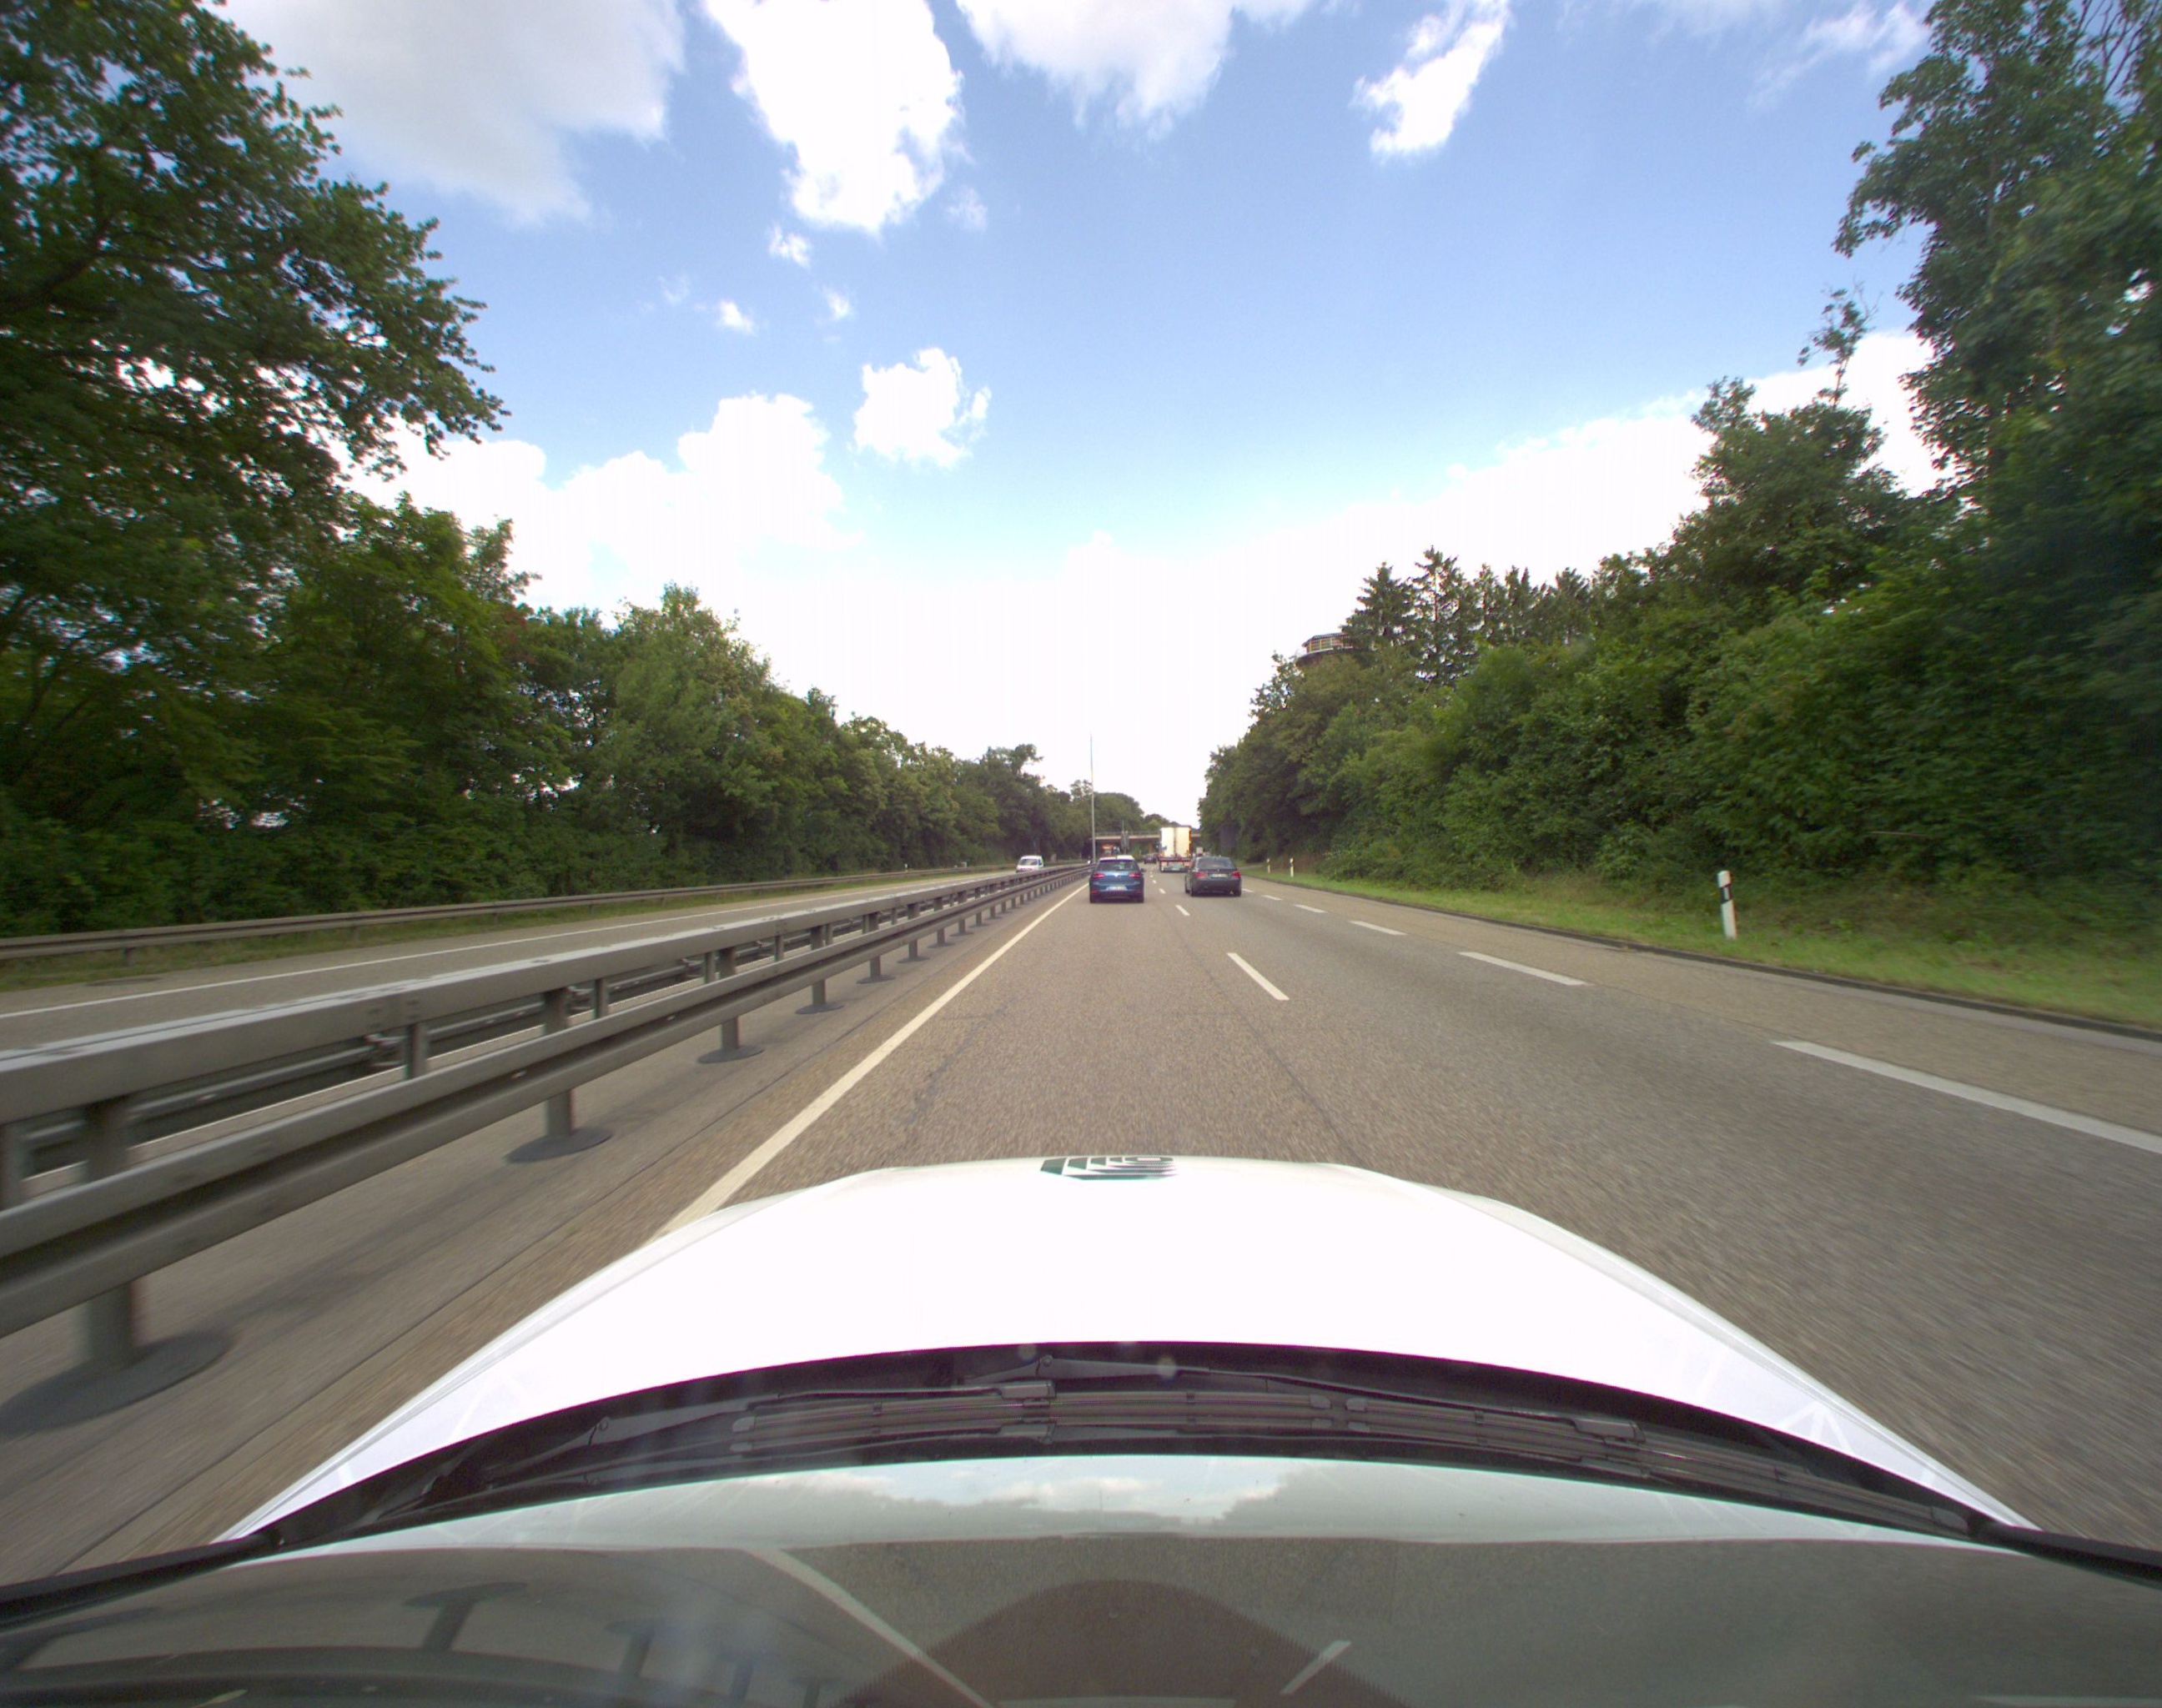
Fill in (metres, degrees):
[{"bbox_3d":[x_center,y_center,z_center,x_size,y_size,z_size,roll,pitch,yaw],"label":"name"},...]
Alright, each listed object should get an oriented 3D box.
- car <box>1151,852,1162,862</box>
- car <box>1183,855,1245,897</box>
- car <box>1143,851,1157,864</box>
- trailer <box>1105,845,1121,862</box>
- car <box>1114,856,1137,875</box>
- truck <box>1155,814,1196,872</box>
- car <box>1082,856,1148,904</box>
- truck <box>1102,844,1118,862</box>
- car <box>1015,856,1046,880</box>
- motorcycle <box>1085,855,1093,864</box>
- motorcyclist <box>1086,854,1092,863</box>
[{"bbox_3d":[13.940,0.482,150.002,1.756,1.772,4.033,-2,0,9],"label":"car"},{"bbox_3d":[4.953,0.774,30.855,1.767,1.475,4.884,0,0,3],"label":"car"},{"bbox_3d":[10.712,0.534,126.090,1.943,2.013,4.008,-2,0,7],"label":"car"},{"bbox_3d":[7.695,-0.022,193.802,2.923,3.833,10.326,-2,0,6],"label":"trailer"},{"bbox_3d":[3.620,0.923,65.515,1.657,1.500,4.159,0,0,6],"label":"car"},{"bbox_3d":[8.382,-0.892,72.807,3.225,4.716,11.025,-2,0,6],"label":"truck"},{"bbox_3d":[1.204,0.803,27.045,1.695,1.470,4.011,0,0,9],"label":"car"},{"bbox_3d":[6.605,-0.122,183.493,2.940,3.855,10.340,-2,0,6],"label":"truck"},{"bbox_3d":[-4.061,1.127,65.894,1.837,1.819,5.482,-1,0,3],"label":"car"},{"bbox_3d":[1.148,0.811,116.936,0.995,1.201,3.000,-2,0,4],"label":"motorcycle"},{"bbox_3d":[1.147,0.633,116.623,0.822,1.226,0.721,-2,-1,3],"label":"motorcyclist"}]
